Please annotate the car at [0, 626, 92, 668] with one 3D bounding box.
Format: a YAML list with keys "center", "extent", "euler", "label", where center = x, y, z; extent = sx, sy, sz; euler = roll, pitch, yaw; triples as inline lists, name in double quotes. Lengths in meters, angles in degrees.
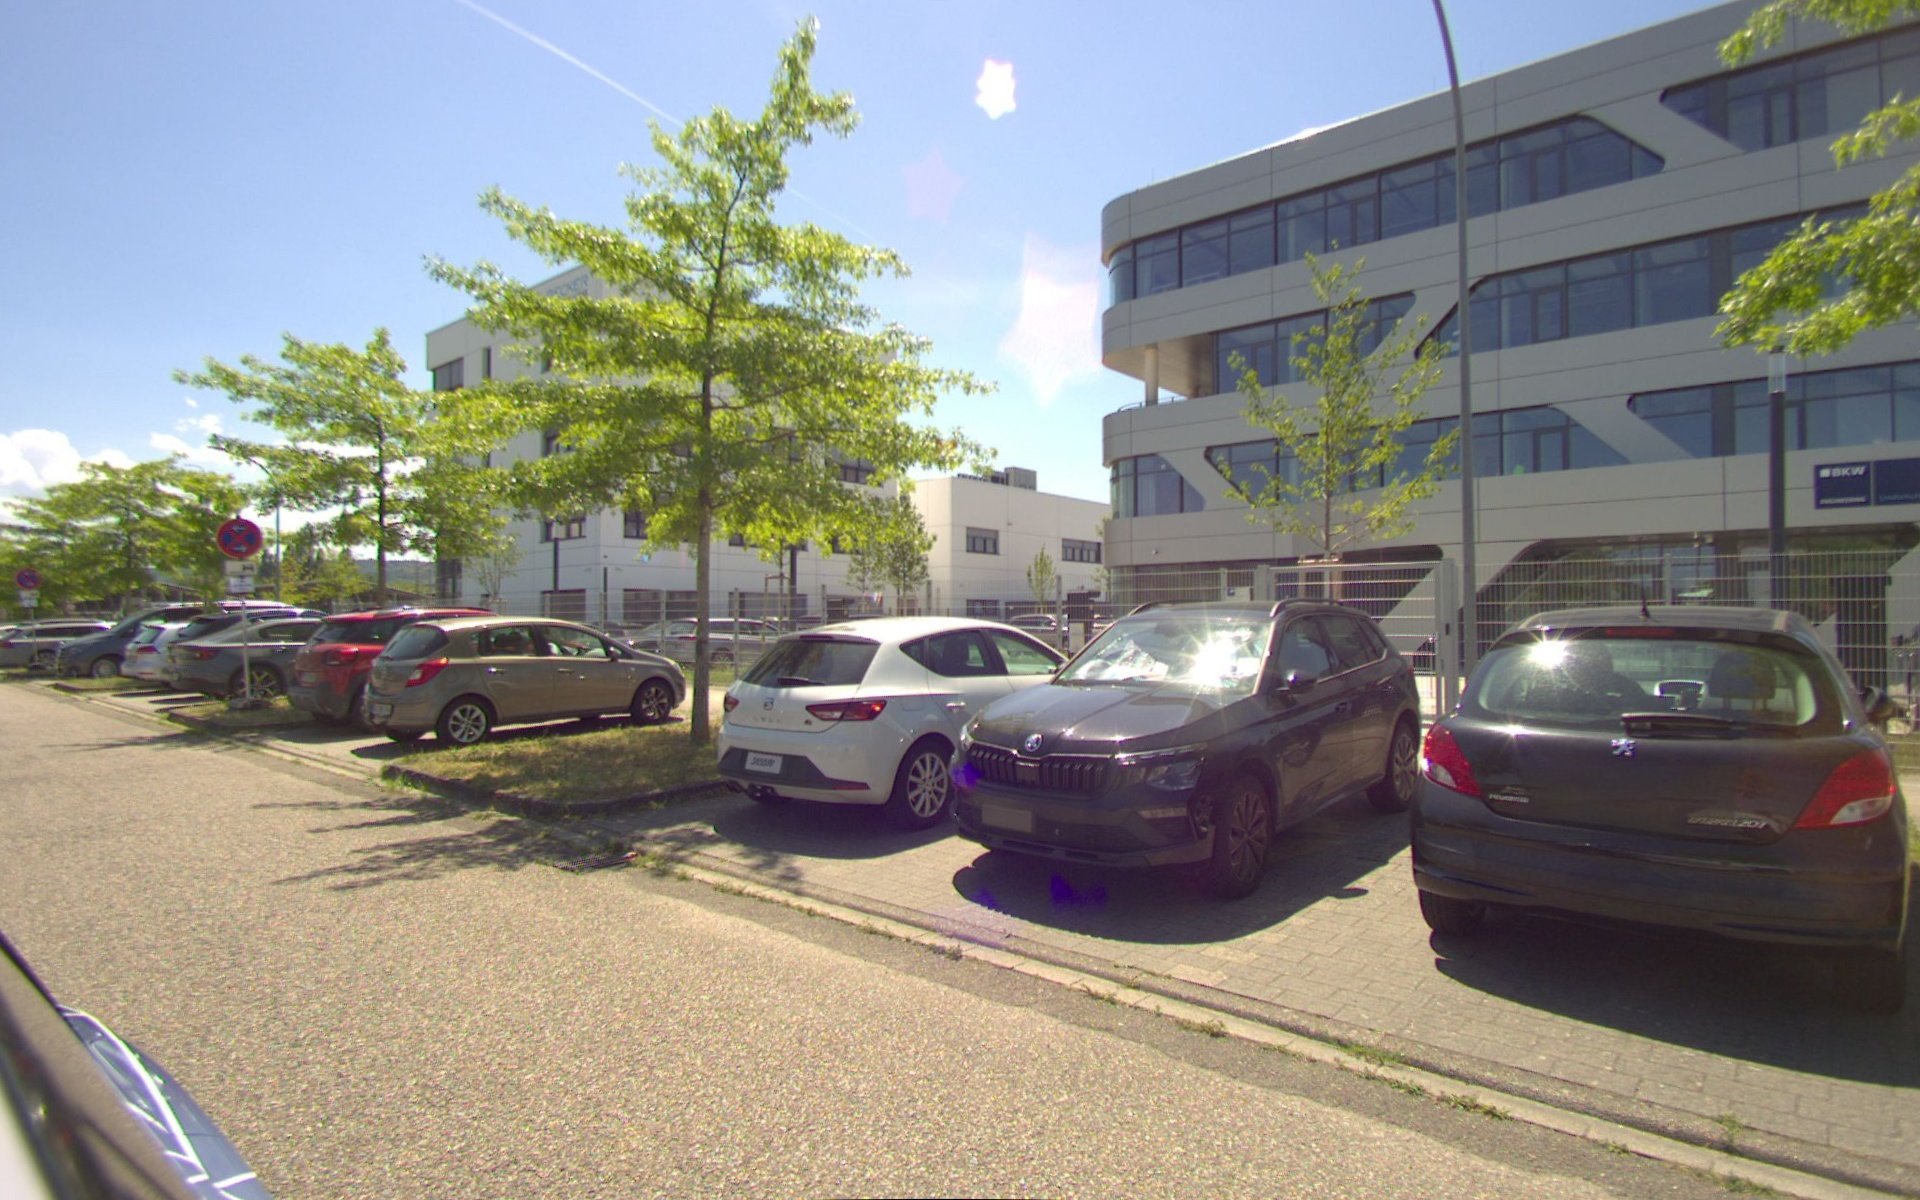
- center: [-38.024, 1.906, 41.214]
  extent: [1.725, 1.604, 3.801]
  euler: [-2, -1, 38]
  label: "car"

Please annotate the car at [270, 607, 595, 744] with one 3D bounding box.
- center: [-7.379, 0.948, 14.384]
  extent: [1.816, 1.633, 3.698]
  euler: [-2, -1, 41]
  label: "car"

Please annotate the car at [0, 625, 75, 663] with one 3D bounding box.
- center: [-42.793, 1.993, 45.931]
  extent: [1.728, 1.604, 3.862]
  euler: [-2, -1, 44]
  label: "car"

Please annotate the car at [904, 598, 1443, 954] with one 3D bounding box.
- center: [1.620, 0.785, 6.533]
  extent: [1.783, 1.532, 3.888]
  euler: [-1, 0, 40]
  label: "car"

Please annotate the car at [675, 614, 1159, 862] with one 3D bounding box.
- center: [-0.109, 0.885, 8.393]
  extent: [1.871, 1.435, 4.038]
  euler: [-1, 0, 37]
  label: "car"

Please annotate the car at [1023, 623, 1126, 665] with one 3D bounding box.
- center: [4.848, 1.864, 43.059]
  extent: [3.997, 1.730, 1.973]
  euler: [-2, -3, 41]
  label: "car"

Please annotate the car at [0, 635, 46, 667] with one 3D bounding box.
- center: [-46.580, 2.479, 48.819]
  extent: [1.726, 1.452, 3.469]
  euler: [-2, -1, 40]
  label: "car"

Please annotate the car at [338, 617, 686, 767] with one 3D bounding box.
- center: [-5.460, 1.020, 12.692]
  extent: [1.728, 1.520, 3.623]
  euler: [-2, -1, 37]
  label: "car"

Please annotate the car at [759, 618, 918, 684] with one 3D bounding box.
- center: [-2.741, 1.194, 23.455]
  extent: [1.676, 1.401, 3.443]
  euler: [-2, -4, 40]
  label: "car"

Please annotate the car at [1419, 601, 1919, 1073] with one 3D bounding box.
- center: [3.651, 0.761, 4.993]
  extent: [1.724, 1.446, 3.591]
  euler: [-1, 0, 38]
  label: "car"

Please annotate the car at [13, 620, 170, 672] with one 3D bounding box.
- center: [-30.763, 1.586, 35.925]
  extent: [1.727, 1.647, 4.073]
  euler: [-2, -1, 42]
  label: "car"

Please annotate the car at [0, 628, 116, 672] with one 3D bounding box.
- center: [-35.903, 1.959, 39.643]
  extent: [1.807, 1.524, 4.127]
  euler: [-3, -1, 42]
  label: "car"

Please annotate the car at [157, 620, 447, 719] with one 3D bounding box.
- center: [-11.939, 1.172, 18.575]
  extent: [1.712, 1.491, 4.150]
  euler: [-1, 0, 41]
  label: "car"

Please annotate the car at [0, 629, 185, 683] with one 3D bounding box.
- center: [-27.680, 1.713, 32.070]
  extent: [1.856, 1.458, 4.666]
  euler: [-2, -1, 39]
  label: "car"

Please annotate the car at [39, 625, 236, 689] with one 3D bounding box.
- center: [-22.373, 1.500, 27.628]
  extent: [1.763, 1.495, 3.928]
  euler: [-2, 0, 41]
  label: "car"

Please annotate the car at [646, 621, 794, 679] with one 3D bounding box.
- center: [-6.193, 1.309, 26.340]
  extent: [1.676, 1.401, 3.443]
  euler: [-2, -3, 40]
  label: "car"

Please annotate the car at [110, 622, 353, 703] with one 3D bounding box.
- center: [-15.690, 1.282, 21.990]
  extent: [1.602, 1.472, 3.999]
  euler: [-1, 0, 38]
  label: "car"

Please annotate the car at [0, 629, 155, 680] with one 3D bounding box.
- center: [-29.668, 1.777, 33.655]
  extent: [1.725, 1.484, 4.269]
  euler: [-2, -1, 38]
  label: "car"

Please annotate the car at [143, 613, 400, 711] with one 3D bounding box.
- center: [-13.856, 1.160, 20.574]
  extent: [1.773, 1.691, 3.952]
  euler: [-1, 0, 36]
  label: "car"

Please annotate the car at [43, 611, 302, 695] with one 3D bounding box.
- center: [-20.171, 1.269, 26.101]
  extent: [1.997, 1.906, 5.015]
  euler: [-2, -1, 42]
  label: "car"
